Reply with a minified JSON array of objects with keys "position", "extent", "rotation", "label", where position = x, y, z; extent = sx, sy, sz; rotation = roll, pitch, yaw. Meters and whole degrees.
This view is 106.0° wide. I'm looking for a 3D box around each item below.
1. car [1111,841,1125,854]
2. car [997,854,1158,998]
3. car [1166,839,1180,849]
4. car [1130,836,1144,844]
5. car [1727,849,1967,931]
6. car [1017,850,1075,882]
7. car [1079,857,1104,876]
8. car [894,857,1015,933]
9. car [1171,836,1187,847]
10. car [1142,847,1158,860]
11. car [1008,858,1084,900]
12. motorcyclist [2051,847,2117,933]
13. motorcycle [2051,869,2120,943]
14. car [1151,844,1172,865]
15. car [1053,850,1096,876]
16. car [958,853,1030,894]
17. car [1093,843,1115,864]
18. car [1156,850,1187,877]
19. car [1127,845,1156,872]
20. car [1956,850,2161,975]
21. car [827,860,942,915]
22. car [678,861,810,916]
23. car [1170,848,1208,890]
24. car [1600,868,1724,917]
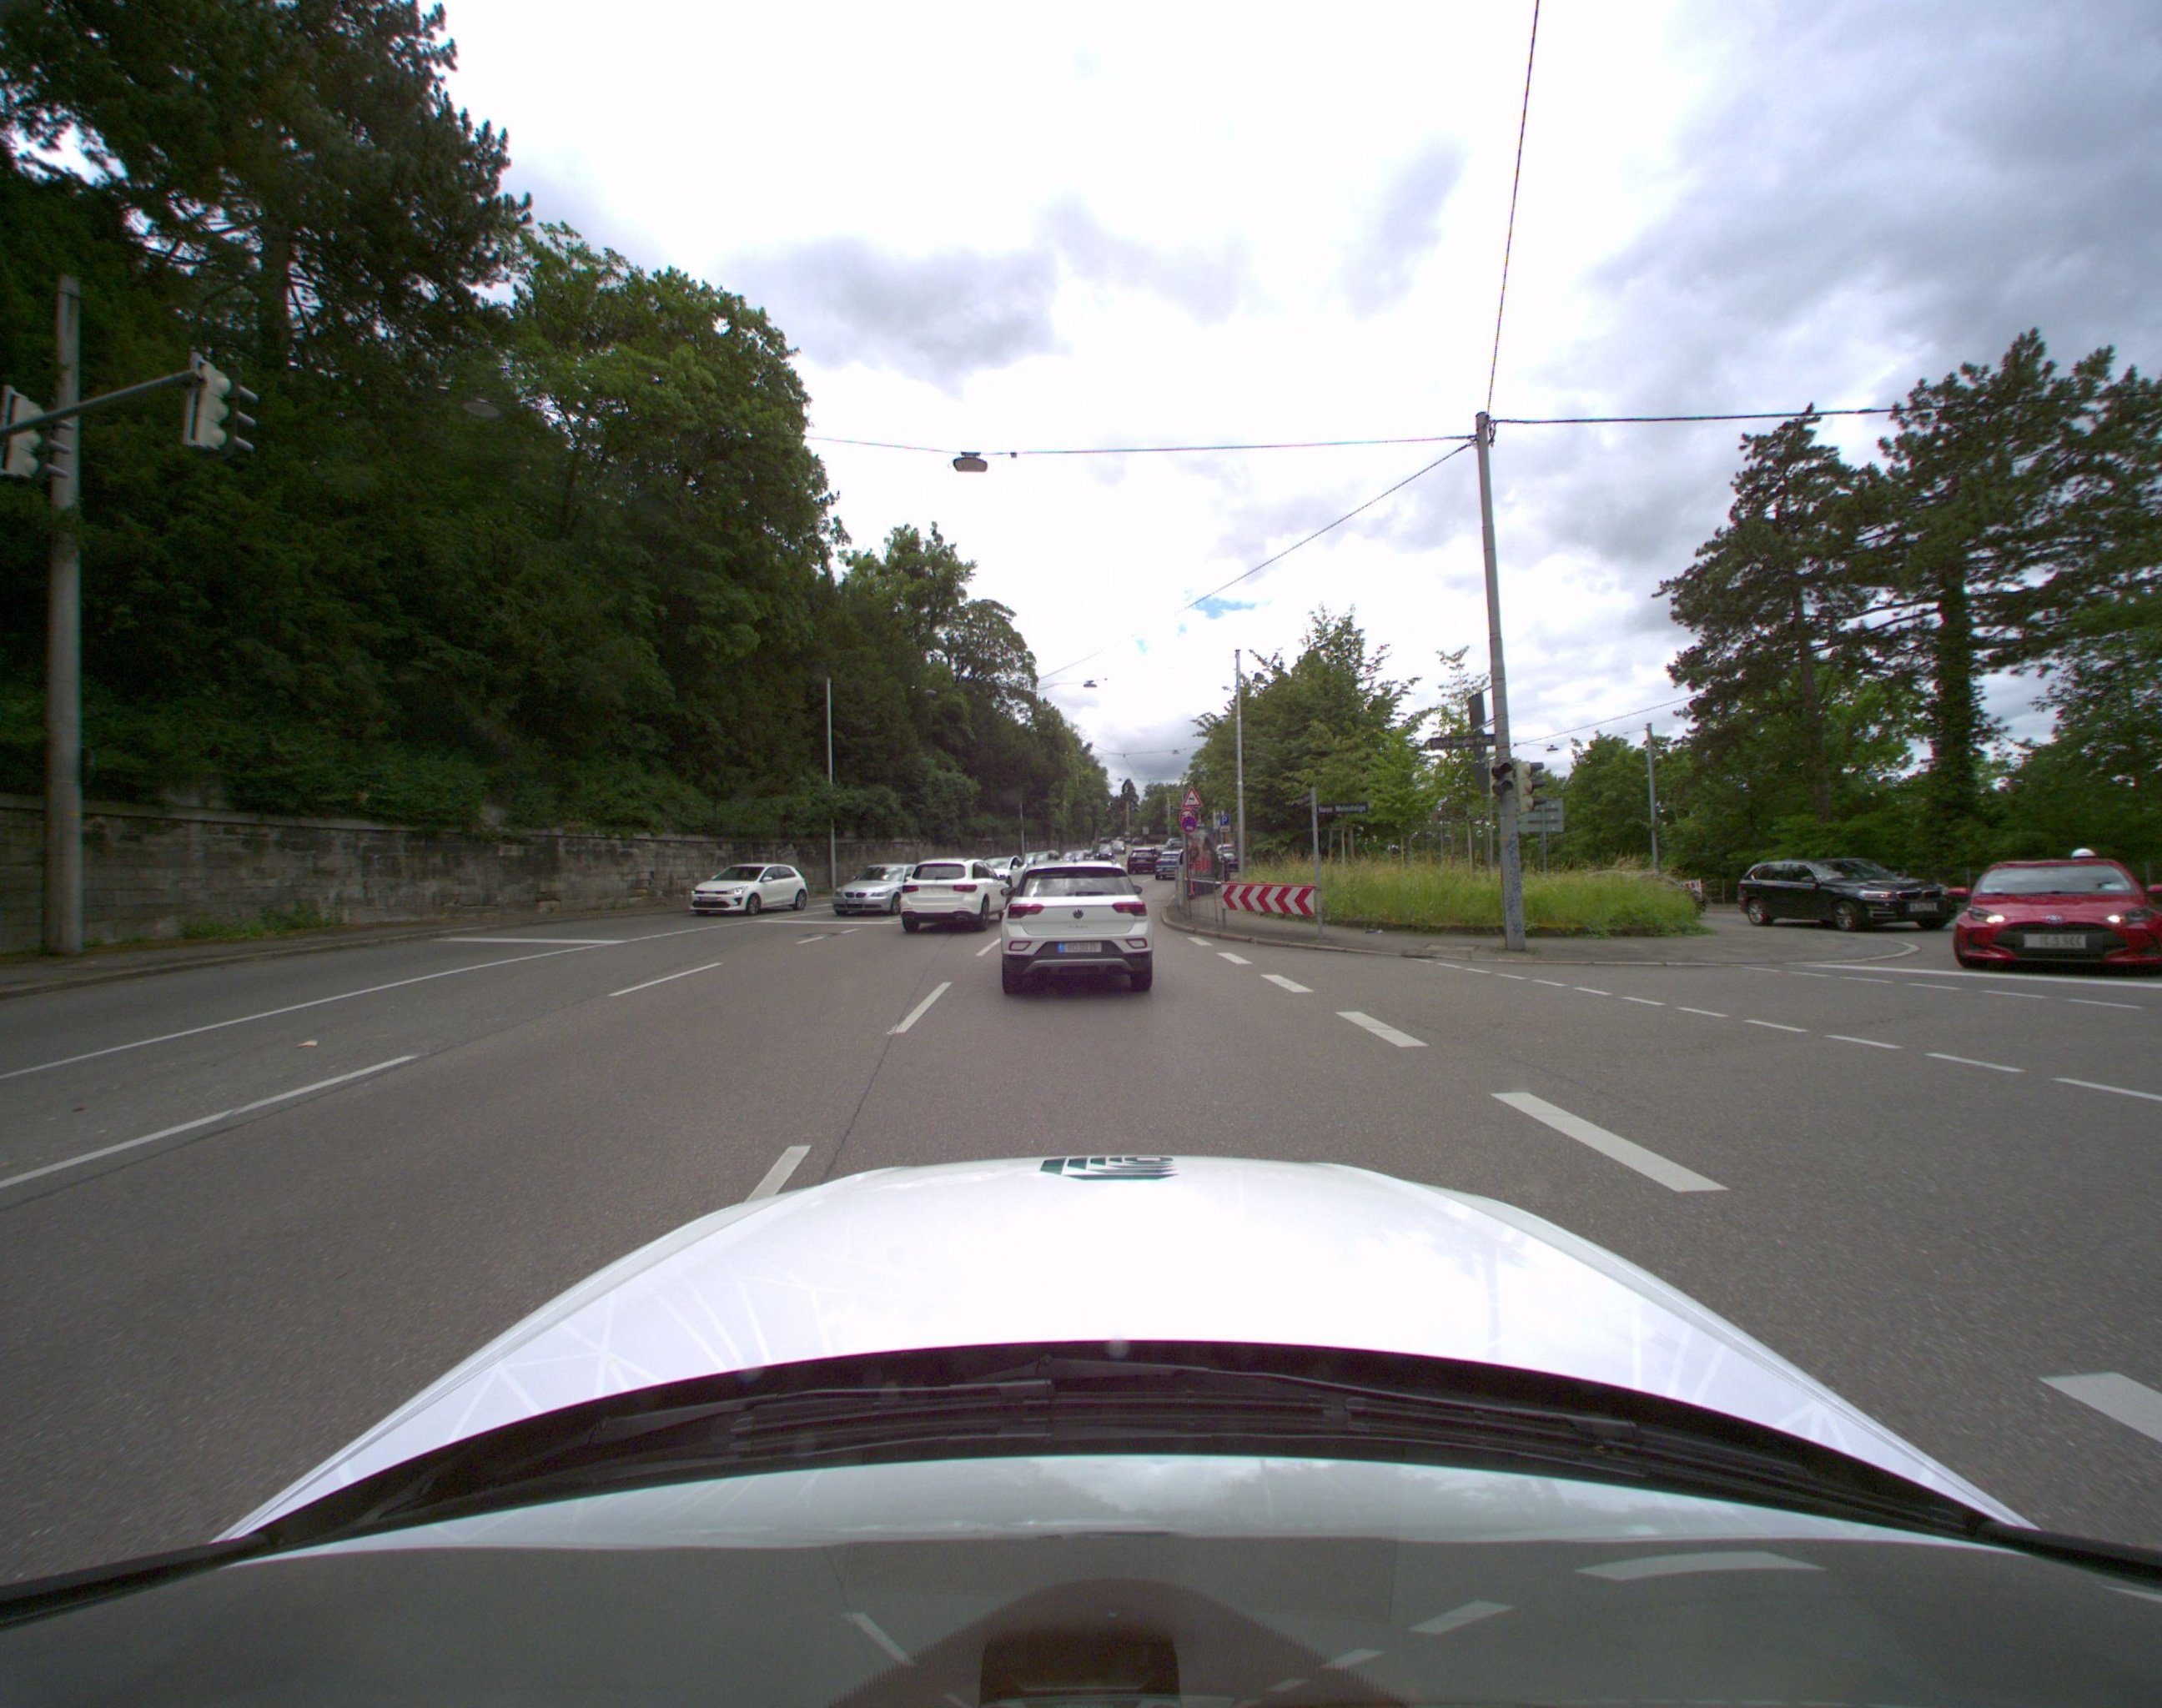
[{"position":[4.603,-0.812,100.773],"extent":[1.639,1.450,3.550],"rotation":[-1,1,4],"label":"car"},{"position":[-0.065,0.804,11.050],"extent":[1.749,1.553,4.335],"rotation":[0,-1,-1],"label":"car"},{"position":[14.042,-1.485,124.529],"extent":[1.641,1.450,3.546],"rotation":[-1,0,0],"label":"car"},{"position":[10.164,-2.490,148.270],"extent":[1.647,1.450,3.534],"rotation":[-1,0,-10],"label":"car"},{"position":[18.509,0.882,20.072],"extent":[1.804,1.677,4.686],"rotation":[-3,-3,7],"label":"car"},{"position":[-1.769,0.603,43.003],"extent":[1.880,1.567,4.495],"rotation":[0,0,13],"label":"car"},{"position":[0.879,0.996,65.257],"extent":[1.641,1.518,3.858],"rotation":[0,-1,6],"label":"car"},{"position":[-2.896,0.879,19.709],"extent":[1.850,1.605,4.676],"rotation":[-1,0,4],"label":"car"},{"position":[13.270,-1.719,110.628],"extent":[1.642,1.450,3.544],"rotation":[-1,0,-1],"label":"car"},{"position":[7.481,-0.056,88.066],"extent":[1.491,1.327,3.864],"rotation":[0,2,8],"label":"car"},{"position":[-1.255,0.916,31.828],"extent":[1.852,1.534,4.792],"rotation":[0,0,12],"label":"car"},{"position":[17.287,0.618,14.050],"extent":[0.761,1.430,0.594],"rotation":[-1,-3,-42],"label":"motorcyclist"},{"position":[17.310,0.884,14.057],"extent":[1.590,1.152,0.593],"rotation":[-2,-2,-42],"label":"motorcycle"},{"position":[7.420,0.010,75.312],"extent":[1.627,1.819,4.004],"rotation":[-3,0,4],"label":"car"},{"position":[-0.348,0.496,49.246],"extent":[1.805,1.440,4.075],"rotation":[-1,1,11],"label":"car"},{"position":[-3.659,0.780,35.021],"extent":[1.982,1.636,4.409],"rotation":[1,0,9],"label":"car"},{"position":[2.368,-0.053,83.066],"extent":[1.724,2.013,3.940],"rotation":[-1,0,7],"label":"car"},{"position":[5.163,0.507,46.251],"extent":[1.619,1.419,3.864],"rotation":[0,1,8],"label":"car"},{"position":[3.957,0.246,53.058],"extent":[1.779,1.636,3.742],"rotation":[0,2,5],"label":"car"},{"position":[13.683,0.742,11.410],"extent":[3.975,1.468,1.653],"rotation":[1,-4,-40],"label":"car"},{"position":[-5.847,0.952,24.806],"extent":[1.745,1.442,4.492],"rotation":[0,0,10],"label":"car"},{"position":[-9.698,0.930,23.804],"extent":[1.628,1.405,4.076],"rotation":[0,0,10],"label":"car"},{"position":[4.775,0.617,35.711],"extent":[1.485,1.749,3.126],"rotation":[-1,0,9],"label":"car"},{"position":[19.288,1.287,27.269],"extent":[1.706,1.485,4.009],"rotation":[-2,-3,8],"label":"car"}]
